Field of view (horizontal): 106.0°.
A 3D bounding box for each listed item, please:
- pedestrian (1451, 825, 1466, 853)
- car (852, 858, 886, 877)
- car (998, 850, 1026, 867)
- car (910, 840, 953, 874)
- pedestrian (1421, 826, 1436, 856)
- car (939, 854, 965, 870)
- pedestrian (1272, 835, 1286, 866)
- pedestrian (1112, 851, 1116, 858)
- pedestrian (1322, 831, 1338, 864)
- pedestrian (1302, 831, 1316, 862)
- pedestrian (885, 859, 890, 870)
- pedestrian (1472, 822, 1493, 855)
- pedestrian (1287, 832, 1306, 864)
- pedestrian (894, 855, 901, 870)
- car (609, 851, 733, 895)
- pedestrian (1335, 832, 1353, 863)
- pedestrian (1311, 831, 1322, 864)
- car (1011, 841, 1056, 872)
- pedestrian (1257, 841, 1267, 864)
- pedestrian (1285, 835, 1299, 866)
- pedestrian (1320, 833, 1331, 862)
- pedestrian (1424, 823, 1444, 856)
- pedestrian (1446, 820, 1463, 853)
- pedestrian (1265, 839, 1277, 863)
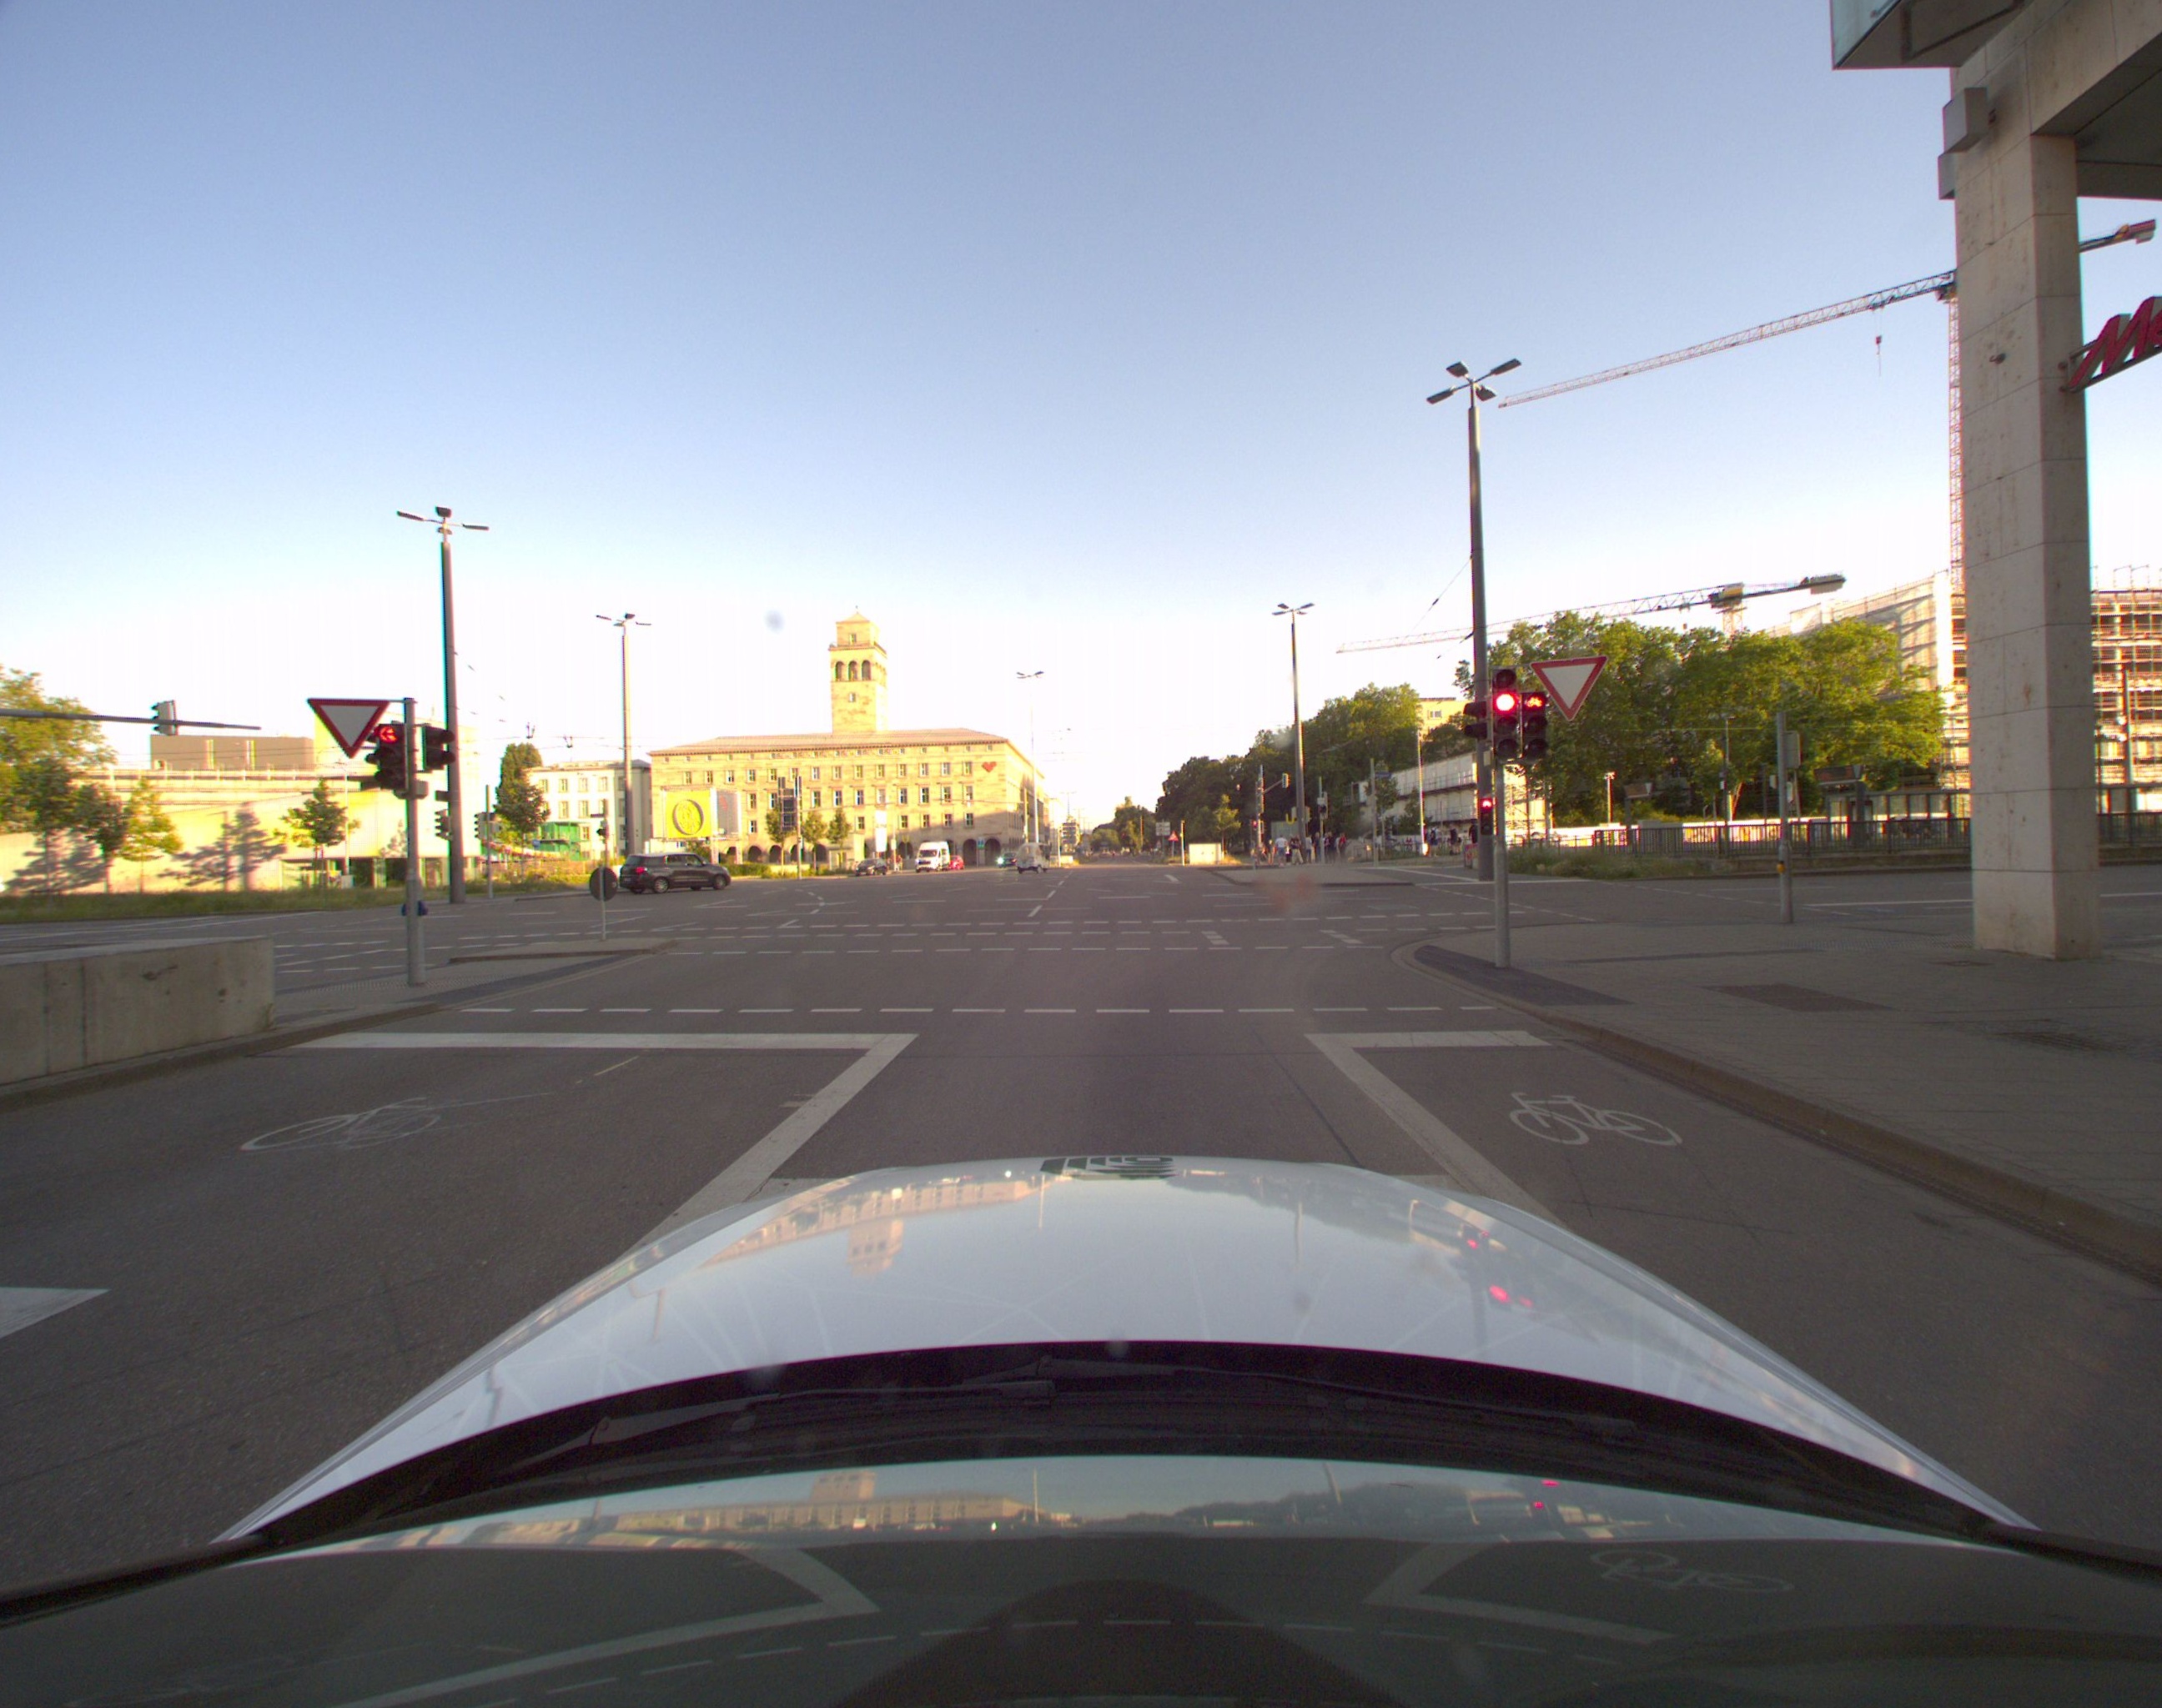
[{"bbox_3d":[20.245,-0.798,43.681,0.670,1.441,0.718,-2,0,24],"label":"pedestrian"},{"bbox_3d":[-18.366,1.123,70.767,1.817,1.466,4.158,-2,1,0],"label":"car"},{"bbox_3d":[-6.167,0.380,72.959,1.815,1.341,4.005,-2,1,4],"label":"car"},{"bbox_3d":[-13.286,0.219,72.981,2.269,2.776,6.090,-2,0,4],"label":"car"},{"bbox_3d":[19.000,-0.710,44.563,0.569,1.592,0.537,-2,0,1],"label":"pedestrian"},{"bbox_3d":[-12.896,0.787,81.671,1.732,1.487,4.002,-2,1,2],"label":"car"},{"bbox_3d":[11.136,-0.201,45.788,0.705,1.725,0.671,-2,1,16],"label":"pedestrian"},{"bbox_3d":[7.988,0.162,194.731,0.903,1.671,1.307,-2,1,1],"label":"pedestrian"},{"bbox_3d":[13.930,-0.375,45.504,0.799,1.791,0.804,-2,1,16],"label":"pedestrian"},{"bbox_3d":[12.968,-0.407,46.386,0.705,1.725,0.919,-2,1,15],"label":"pedestrian"},{"bbox_3d":[-21.795,1.197,91.688,0.504,1.300,0.700,0,-1,-3],"label":"pedestrian"},{"bbox_3d":[21.067,-0.815,42.732,0.668,1.725,0.708,-2,0,-20],"label":"pedestrian"},{"bbox_3d":[11.815,-0.317,44.641,0.904,1.725,0.717,-2,1,19],"label":"pedestrian"},{"bbox_3d":[-20.856,0.984,92.499,0.620,1.744,0.459,0,-1,-4],"label":"pedestrian"},{"bbox_3d":[-16.595,0.731,33.169,1.722,1.604,4.160,-2,0,30],"label":"car"},{"bbox_3d":[14.794,-0.379,45.819,0.838,1.734,0.708,-2,1,14],"label":"pedestrian"},{"bbox_3d":[13.154,-0.369,45.495,0.568,1.791,0.641,-2,1,16],"label":"pedestrian"},{"bbox_3d":[-2.713,0.104,47.107,1.470,1.696,2.990,-2,0,21],"label":"car"},{"bbox_3d":[13.438,-0.111,60.502,0.555,1.654,0.907,-2,1,22],"label":"pedestrian"},{"bbox_3d":[11.855,-0.207,45.657,0.705,1.725,0.671,-2,1,15],"label":"pedestrian"},{"bbox_3d":[14.114,-0.376,46.953,0.568,1.678,0.641,-2,1,16],"label":"pedestrian"},{"bbox_3d":[18.756,-0.751,43.237,0.665,1.725,0.712,-2,0,-6],"label":"pedestrian"},{"bbox_3d":[19.755,-0.932,43.054,0.705,1.725,0.672,-2,0,19],"label":"pedestrian"},{"bbox_3d":[14.082,-0.212,60.375,0.673,1.757,0.907,-2,1,22],"label":"pedestrian"}]
